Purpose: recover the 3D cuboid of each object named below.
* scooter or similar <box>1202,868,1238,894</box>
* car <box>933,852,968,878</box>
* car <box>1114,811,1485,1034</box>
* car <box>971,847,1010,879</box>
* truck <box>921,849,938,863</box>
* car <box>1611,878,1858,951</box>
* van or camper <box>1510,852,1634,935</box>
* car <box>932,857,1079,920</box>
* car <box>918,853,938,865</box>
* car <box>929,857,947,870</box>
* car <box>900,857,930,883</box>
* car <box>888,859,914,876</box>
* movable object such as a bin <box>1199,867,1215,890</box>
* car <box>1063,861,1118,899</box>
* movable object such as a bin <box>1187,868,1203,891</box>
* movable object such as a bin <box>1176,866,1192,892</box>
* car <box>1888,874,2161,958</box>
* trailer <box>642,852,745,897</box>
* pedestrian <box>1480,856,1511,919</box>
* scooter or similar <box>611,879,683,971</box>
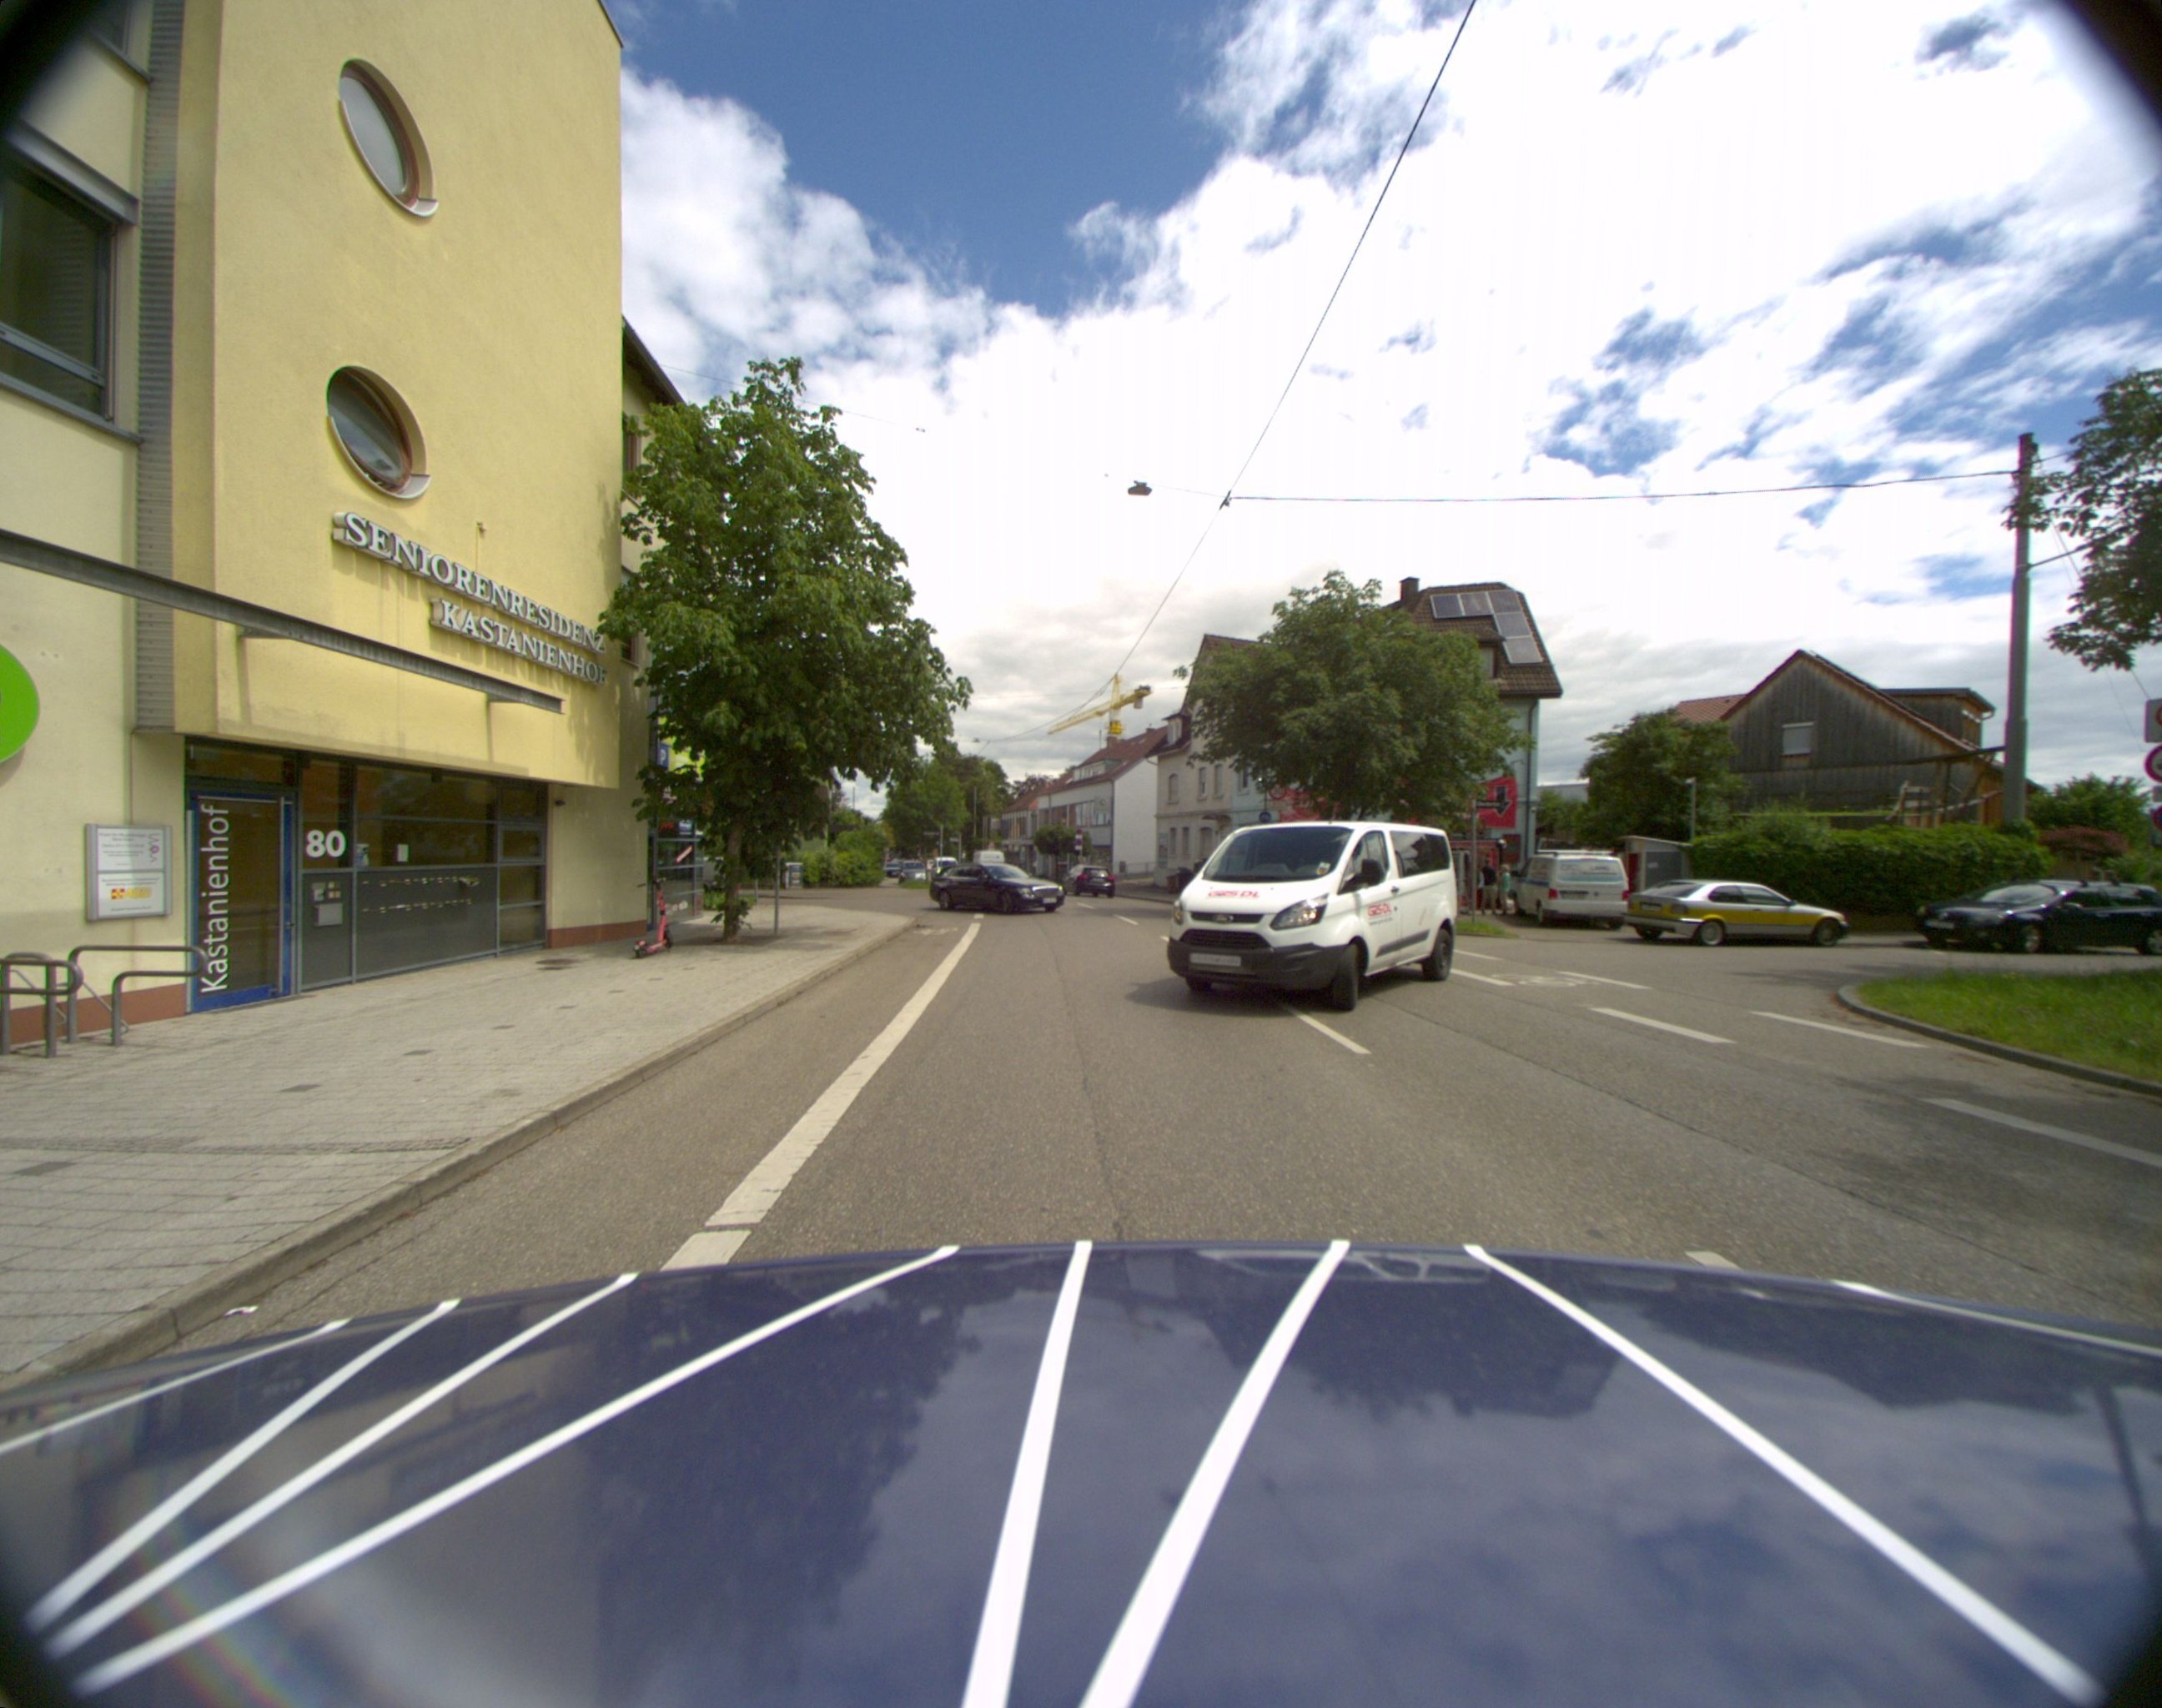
[{"bbox_3d":[6.392,1.232,34.961,1.560,1.177,0.545,-1,2,-18],"label":"scooter or similar"},{"bbox_3d":[-9.779,0.791,56.621,1.968,1.797,4.421,-1,2,-18],"label":"car"},{"bbox_3d":[2.975,0.686,9.373,2.102,1.981,5.242,2,-1,44],"label":"car"},{"bbox_3d":[-7.339,0.698,61.168,2.072,2.339,5.175,3,-1,-17],"label":"car"},{"bbox_3d":[-26.893,0.282,134.967,2.315,2.406,6.083,-1,1,-17],"label":"truck"},{"bbox_3d":[14.275,1.288,16.740,4.029,1.405,1.814,0,2,-6],"label":"car"},{"bbox_3d":[13.528,0.970,21.239,1.787,1.982,4.385,1,1,18],"label":"van or camper"},{"bbox_3d":[-2.353,0.975,22.720,1.813,1.619,4.674,-3,1,-44],"label":"car"},{"bbox_3d":[-20.914,0.654,103.840,1.839,1.514,4.162,1,1,-23],"label":"car"},{"bbox_3d":[-18.098,1.202,95.909,1.697,1.570,3.793,1,1,-19],"label":"car"},{"bbox_3d":[-11.225,1.059,51.225,1.696,1.656,4.456,1,-1,-16],"label":"car"},{"bbox_3d":[-16.400,1.200,69.044,1.992,1.440,4.743,1,1,-18],"label":"car"},{"bbox_3d":[6.313,1.234,38.183,0.567,1.095,0.562,-2,2,-22],"label":"movable object such as a bin"},{"bbox_3d":[0.352,1.147,34.602,1.693,1.473,4.222,4,0,-9],"label":"car"},{"bbox_3d":[5.703,1.262,37.968,0.567,1.095,0.562,-2,2,-22],"label":"movable object such as a bin"},{"bbox_3d":[5.112,1.233,37.744,0.567,1.266,0.562,-2,1,-22],"label":"movable object such as a bin"},{"bbox_3d":[20.027,1.267,16.041,3.999,1.540,1.815,0,2,0],"label":"car"},{"bbox_3d":[-14.735,0.765,28.985,3.168,1.572,1.393,2,0,-4],"label":"trailer"},{"bbox_3d":[12.742,1.005,23.343,0.626,1.885,0.563,-1,2,-29],"label":"pedestrian"},{"bbox_3d":[-6.893,1.084,12.121,0.382,1.309,1.458,0,1,-4],"label":"scooter or similar"}]
